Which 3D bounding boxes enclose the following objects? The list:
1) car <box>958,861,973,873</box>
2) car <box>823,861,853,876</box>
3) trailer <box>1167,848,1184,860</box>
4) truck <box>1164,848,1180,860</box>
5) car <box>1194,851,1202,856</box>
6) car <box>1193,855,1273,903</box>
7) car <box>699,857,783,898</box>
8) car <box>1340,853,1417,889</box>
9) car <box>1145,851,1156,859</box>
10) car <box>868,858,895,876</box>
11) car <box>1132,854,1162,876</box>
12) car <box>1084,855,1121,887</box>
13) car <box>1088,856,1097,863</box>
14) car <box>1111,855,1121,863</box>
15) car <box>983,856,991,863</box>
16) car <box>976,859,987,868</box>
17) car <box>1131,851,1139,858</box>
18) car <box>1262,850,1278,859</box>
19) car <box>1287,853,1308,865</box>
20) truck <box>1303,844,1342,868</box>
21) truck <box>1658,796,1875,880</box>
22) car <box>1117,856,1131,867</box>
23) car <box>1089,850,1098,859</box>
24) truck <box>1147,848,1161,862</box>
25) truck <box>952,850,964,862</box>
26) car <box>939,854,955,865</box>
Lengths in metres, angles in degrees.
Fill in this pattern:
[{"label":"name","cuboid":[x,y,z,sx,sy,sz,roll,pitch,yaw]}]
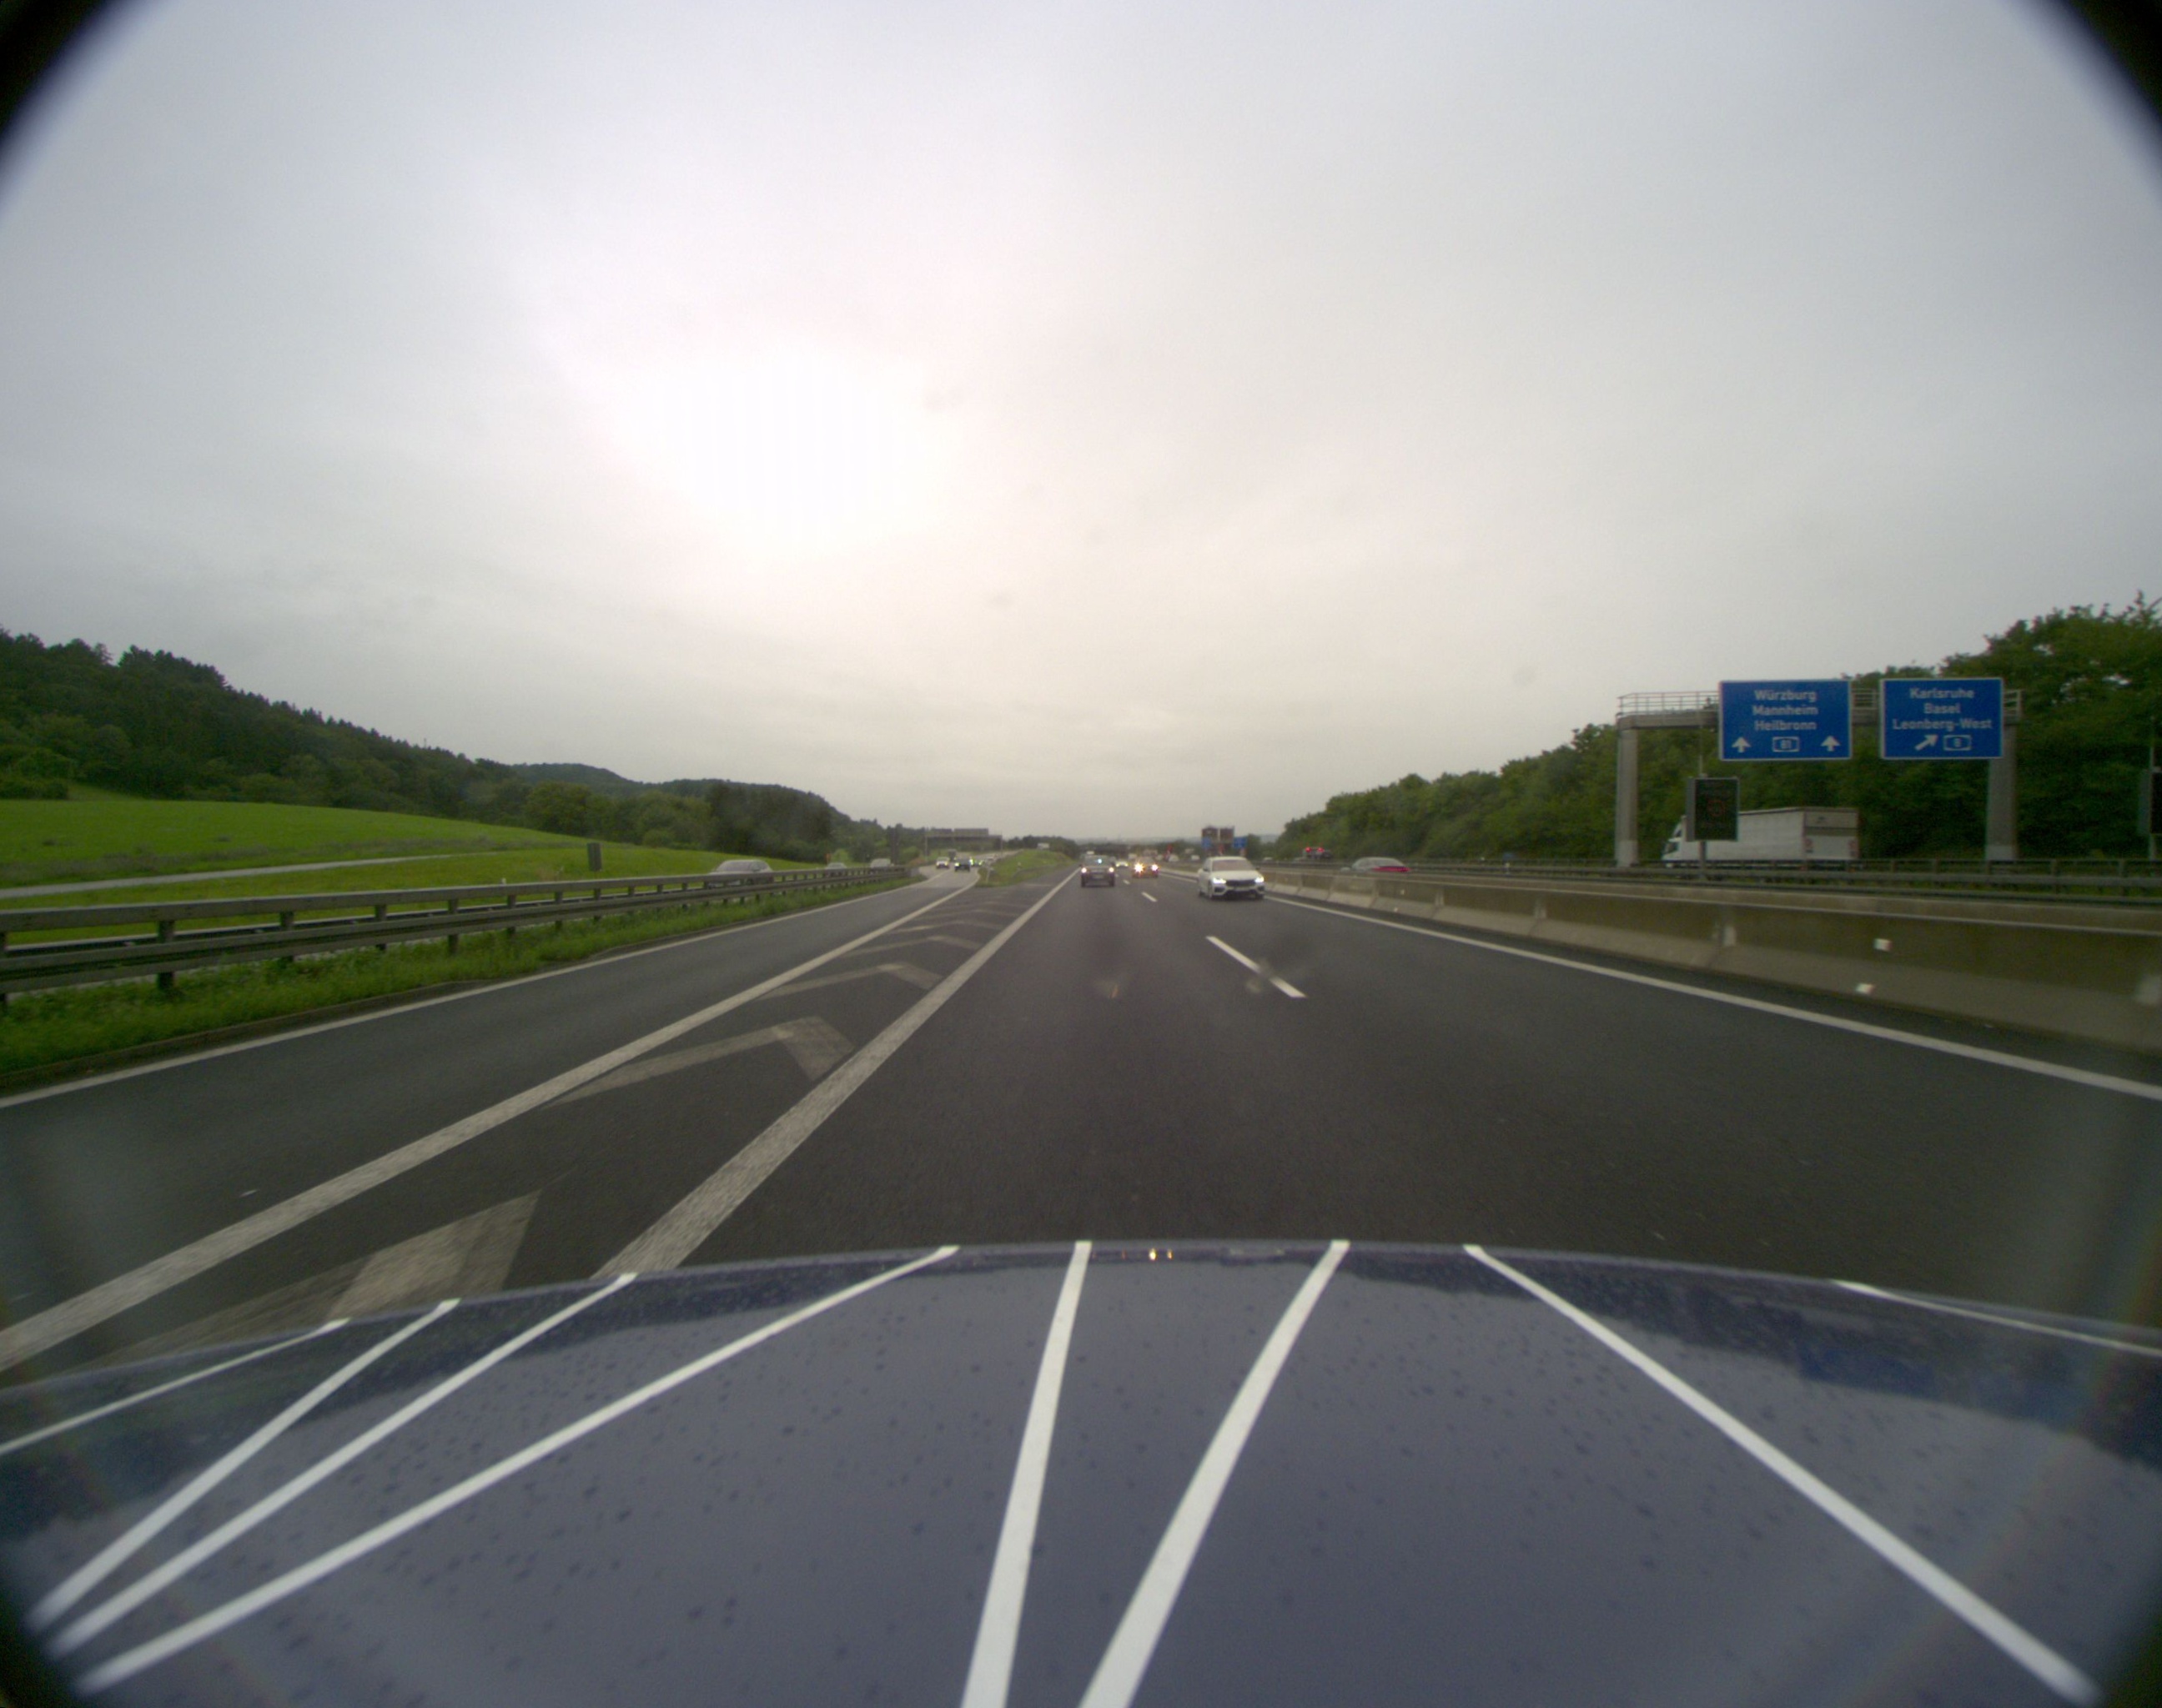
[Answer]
[{"label":"car","cuboid":[-14.725,1.604,97.128,1.868,1.349,4.563,-2,0,-8]},{"label":"car","cuboid":[-25.097,1.478,78.585,1.904,1.446,4.707,-2,0,-6]},{"label":"trailer","cuboid":[19.590,-0.030,157.775,2.582,2.327,7.946,-2,0,1]},{"label":"truck","cuboid":[19.754,-0.064,165.276,2.582,2.327,7.341,-2,0,1]},{"label":"car","cuboid":[36.856,-0.024,238.823,1.823,1.448,4.777,-2,0,0]},{"label":"car","cuboid":[5.260,0.818,26.982,1.823,1.448,4.777,-2,0,0]},{"label":"car","cuboid":[-15.067,0.997,33.948,1.774,1.600,4.642,-2,1,-3]},{"label":"car","cuboid":[13.319,0.728,34.293,1.760,1.448,4.418,-2,1,1]},{"label":"car","cuboid":[15.347,0.298,167.936,1.875,1.671,4.777,-2,1,0]},{"label":"car","cuboid":[-16.952,1.107,64.749,1.672,1.374,4.123,-2,1,-7]},{"label":"car","cuboid":[4.860,0.772,56.591,1.726,1.481,4.566,-2,0,0]},{"label":"car","cuboid":[1.119,0.864,41.073,1.813,1.571,3.834,-2,1,0]},{"label":"car","cuboid":[2.732,1.182,175.125,1.919,1.481,4.566,-2,0,0]},{"label":"car","cuboid":[6.907,0.971,150.360,1.726,1.481,4.566,-2,0,0]},{"label":"car","cuboid":[-24.084,1.432,194.759,1.914,1.684,4.716,-2,1,-4]},{"label":"car","cuboid":[-19.053,1.820,145.374,1.915,1.684,4.715,-2,1,-7]},{"label":"car","cuboid":[16.948,0.135,239.224,2.135,2.308,5.692,-2,1,0]},{"label":"car","cuboid":[34.907,0.143,140.104,1.662,1.572,4.777,-2,1,0]},{"label":"car","cuboid":[28.959,0.658,101.652,1.680,1.448,4.000,-2,1,1]},{"label":"truck","cuboid":[34.290,0.240,108.277,2.858,3.202,9.078,-2,1,1]},{"label":"truck","cuboid":[36.121,-0.806,40.802,3.082,3.856,9.634,-2,1,1]},{"label":"car","cuboid":[6.345,1.141,112.856,1.726,1.481,4.567,-2,0,0]},{"label":"car","cuboid":[2.923,0.186,181.397,2.016,1.994,4.566,-2,1,0]},{"label":"truck","cuboid":[21.351,0.318,222.600,2.933,3.855,16.089,-2,0,1]},{"label":"truck","cuboid":[-39.852,0.551,245.993,2.800,3.878,10.023,-2,1,-5]},{"label":"car","cuboid":[-21.684,0.927,122.999,1.914,1.684,4.716,-2,1,-4]}]
